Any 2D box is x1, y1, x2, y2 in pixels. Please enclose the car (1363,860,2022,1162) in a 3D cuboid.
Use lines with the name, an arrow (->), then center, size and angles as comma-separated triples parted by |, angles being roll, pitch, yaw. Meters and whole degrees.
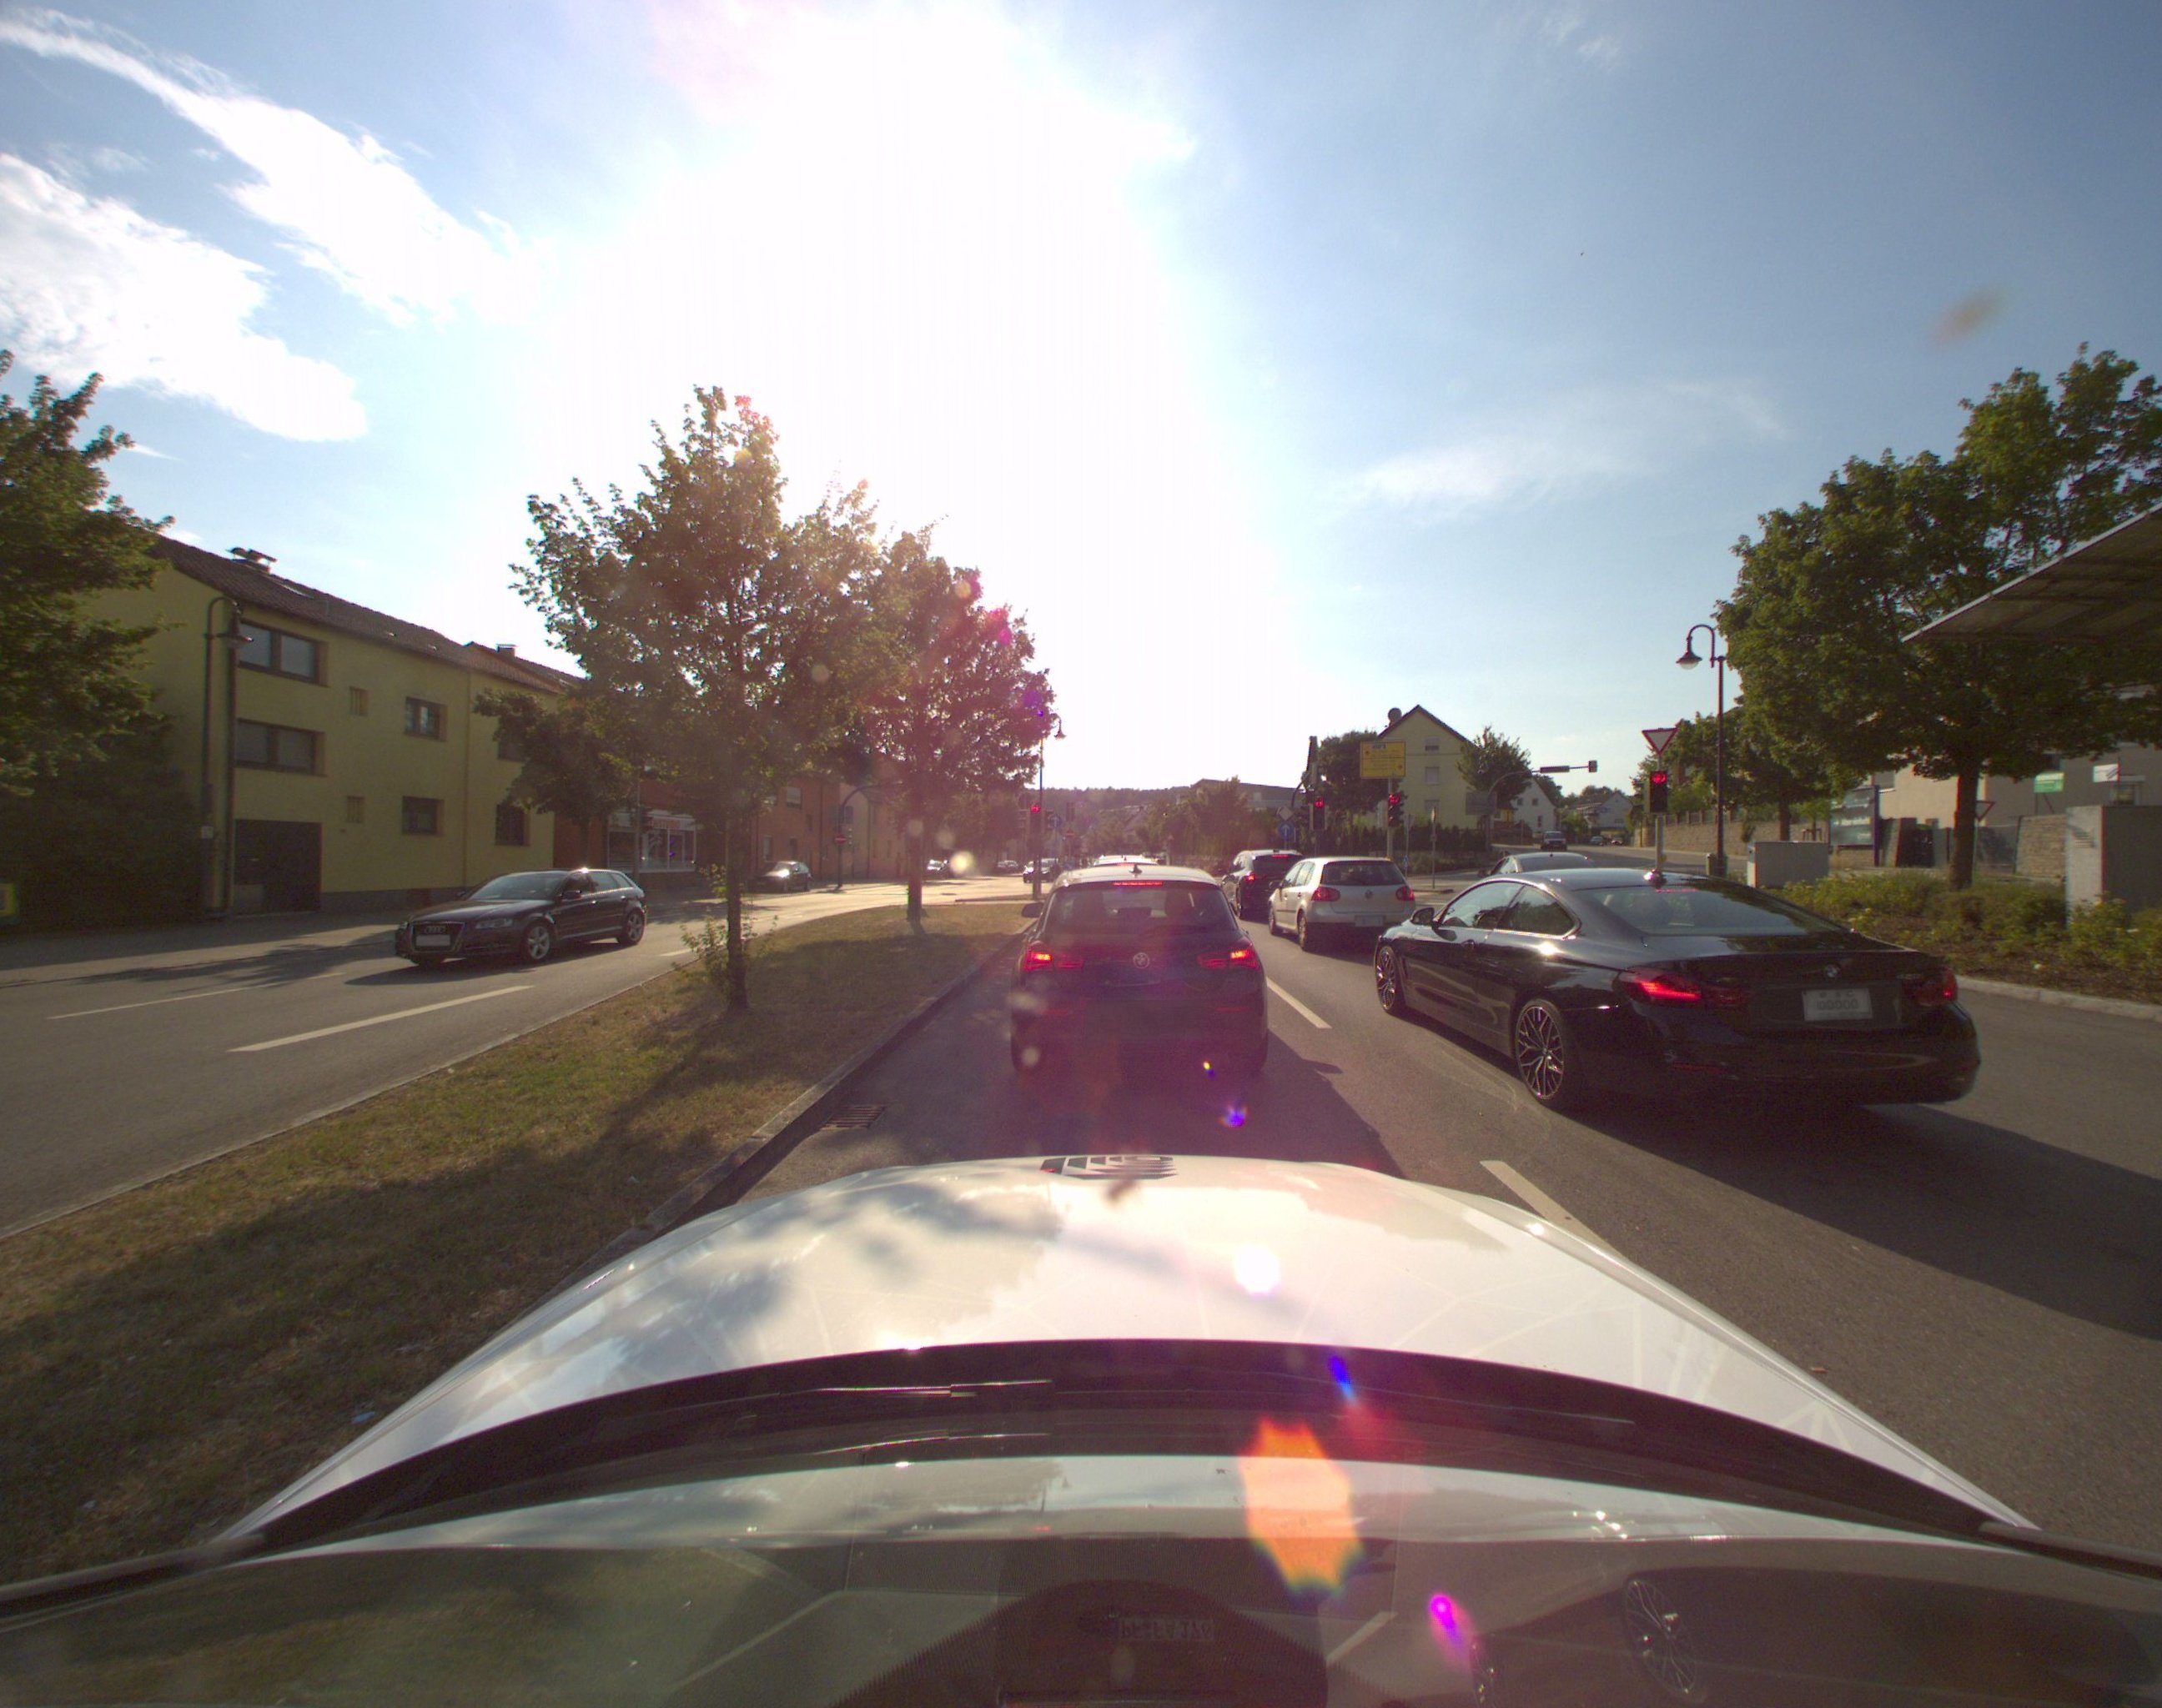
car -> 3.629, 0.759, 6.029 | 1.808, 1.388, 4.351 | -1, 0, 3

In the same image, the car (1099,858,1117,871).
car -> 3.641, 1.364, 110.392 | 1.887, 1.702, 4.518 | -2, 0, -4

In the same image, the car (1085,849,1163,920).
car -> 1.145, 0.724, 21.218 | 1.808, 1.641, 4.245 | -1, 0, 3

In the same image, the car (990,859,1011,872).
car -> -9.627, 1.362, 97.838 | 1.916, 1.596, 4.004 | 0, 0, 4

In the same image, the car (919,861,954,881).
car -> -11.960, 1.376, 67.661 | 1.916, 1.596, 4.004 | 0, 0, 4

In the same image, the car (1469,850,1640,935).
car -> 9.153, 0.653, 16.180 | 1.669, 1.435, 4.606 | -1, 0, 13

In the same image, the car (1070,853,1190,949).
car -> 0.878, 0.728, 14.541 | 1.808, 1.451, 4.245 | -1, 0, 3

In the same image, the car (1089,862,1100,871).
car -> 2.409, 2.224, 147.981 | 1.917, 1.596, 4.002 | 0, 0, 2

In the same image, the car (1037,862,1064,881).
car -> -2.290, 1.312, 62.350 | 1.685, 1.353, 4.004 | 0, 0, 4

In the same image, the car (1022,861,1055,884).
car -> -2.849, 1.208, 55.256 | 1.759, 1.458, 4.004 | 0, 0, 4

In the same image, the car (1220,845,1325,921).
car -> 4.633, 0.643, 20.283 | 1.808, 1.666, 4.351 | -1, 0, 3

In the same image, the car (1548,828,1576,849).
car -> 39.321, -1.249, 66.644 | 1.769, 1.506, 4.095 | 0, 3, 27

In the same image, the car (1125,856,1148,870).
car -> 6.102, 0.962, 89.719 | 1.858, 1.485, 4.652 | 0, 0, -4

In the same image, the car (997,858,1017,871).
car -> -9.320, 1.369, 103.339 | 1.916, 1.596, 4.004 | 0, 0, 4

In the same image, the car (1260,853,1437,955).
car -> 4.308, 0.725, 13.841 | 1.808, 1.446, 4.351 | -1, 0, 3

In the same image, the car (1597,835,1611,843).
car -> 82.640, -2.336, 128.774 | 1.694, 1.244, 4.025 | -1, 1, 31

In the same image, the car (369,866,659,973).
car -> -8.800, 0.926, 13.171 | 1.639, 1.386, 4.191 | 0, 0, 2

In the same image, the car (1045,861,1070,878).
car -> -1.987, 1.322, 69.555 | 1.685, 1.353, 4.004 | 0, 0, 4

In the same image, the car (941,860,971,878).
car -> -11.318, 1.344, 74.018 | 1.916, 1.596, 4.004 | 0, 0, 4

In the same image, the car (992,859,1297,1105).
car -> 0.498, 0.775, 6.976 | 1.783, 1.414, 4.351 | -1, 0, 3

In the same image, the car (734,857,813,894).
car -> -14.192, 0.948, 37.890 | 1.835, 1.552, 4.005 | 2, 0, 5

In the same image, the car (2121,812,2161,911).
car -> 19.341, 0.110, 12.441 | 3.958, 1.608, 1.861 | 0, 0, 14
